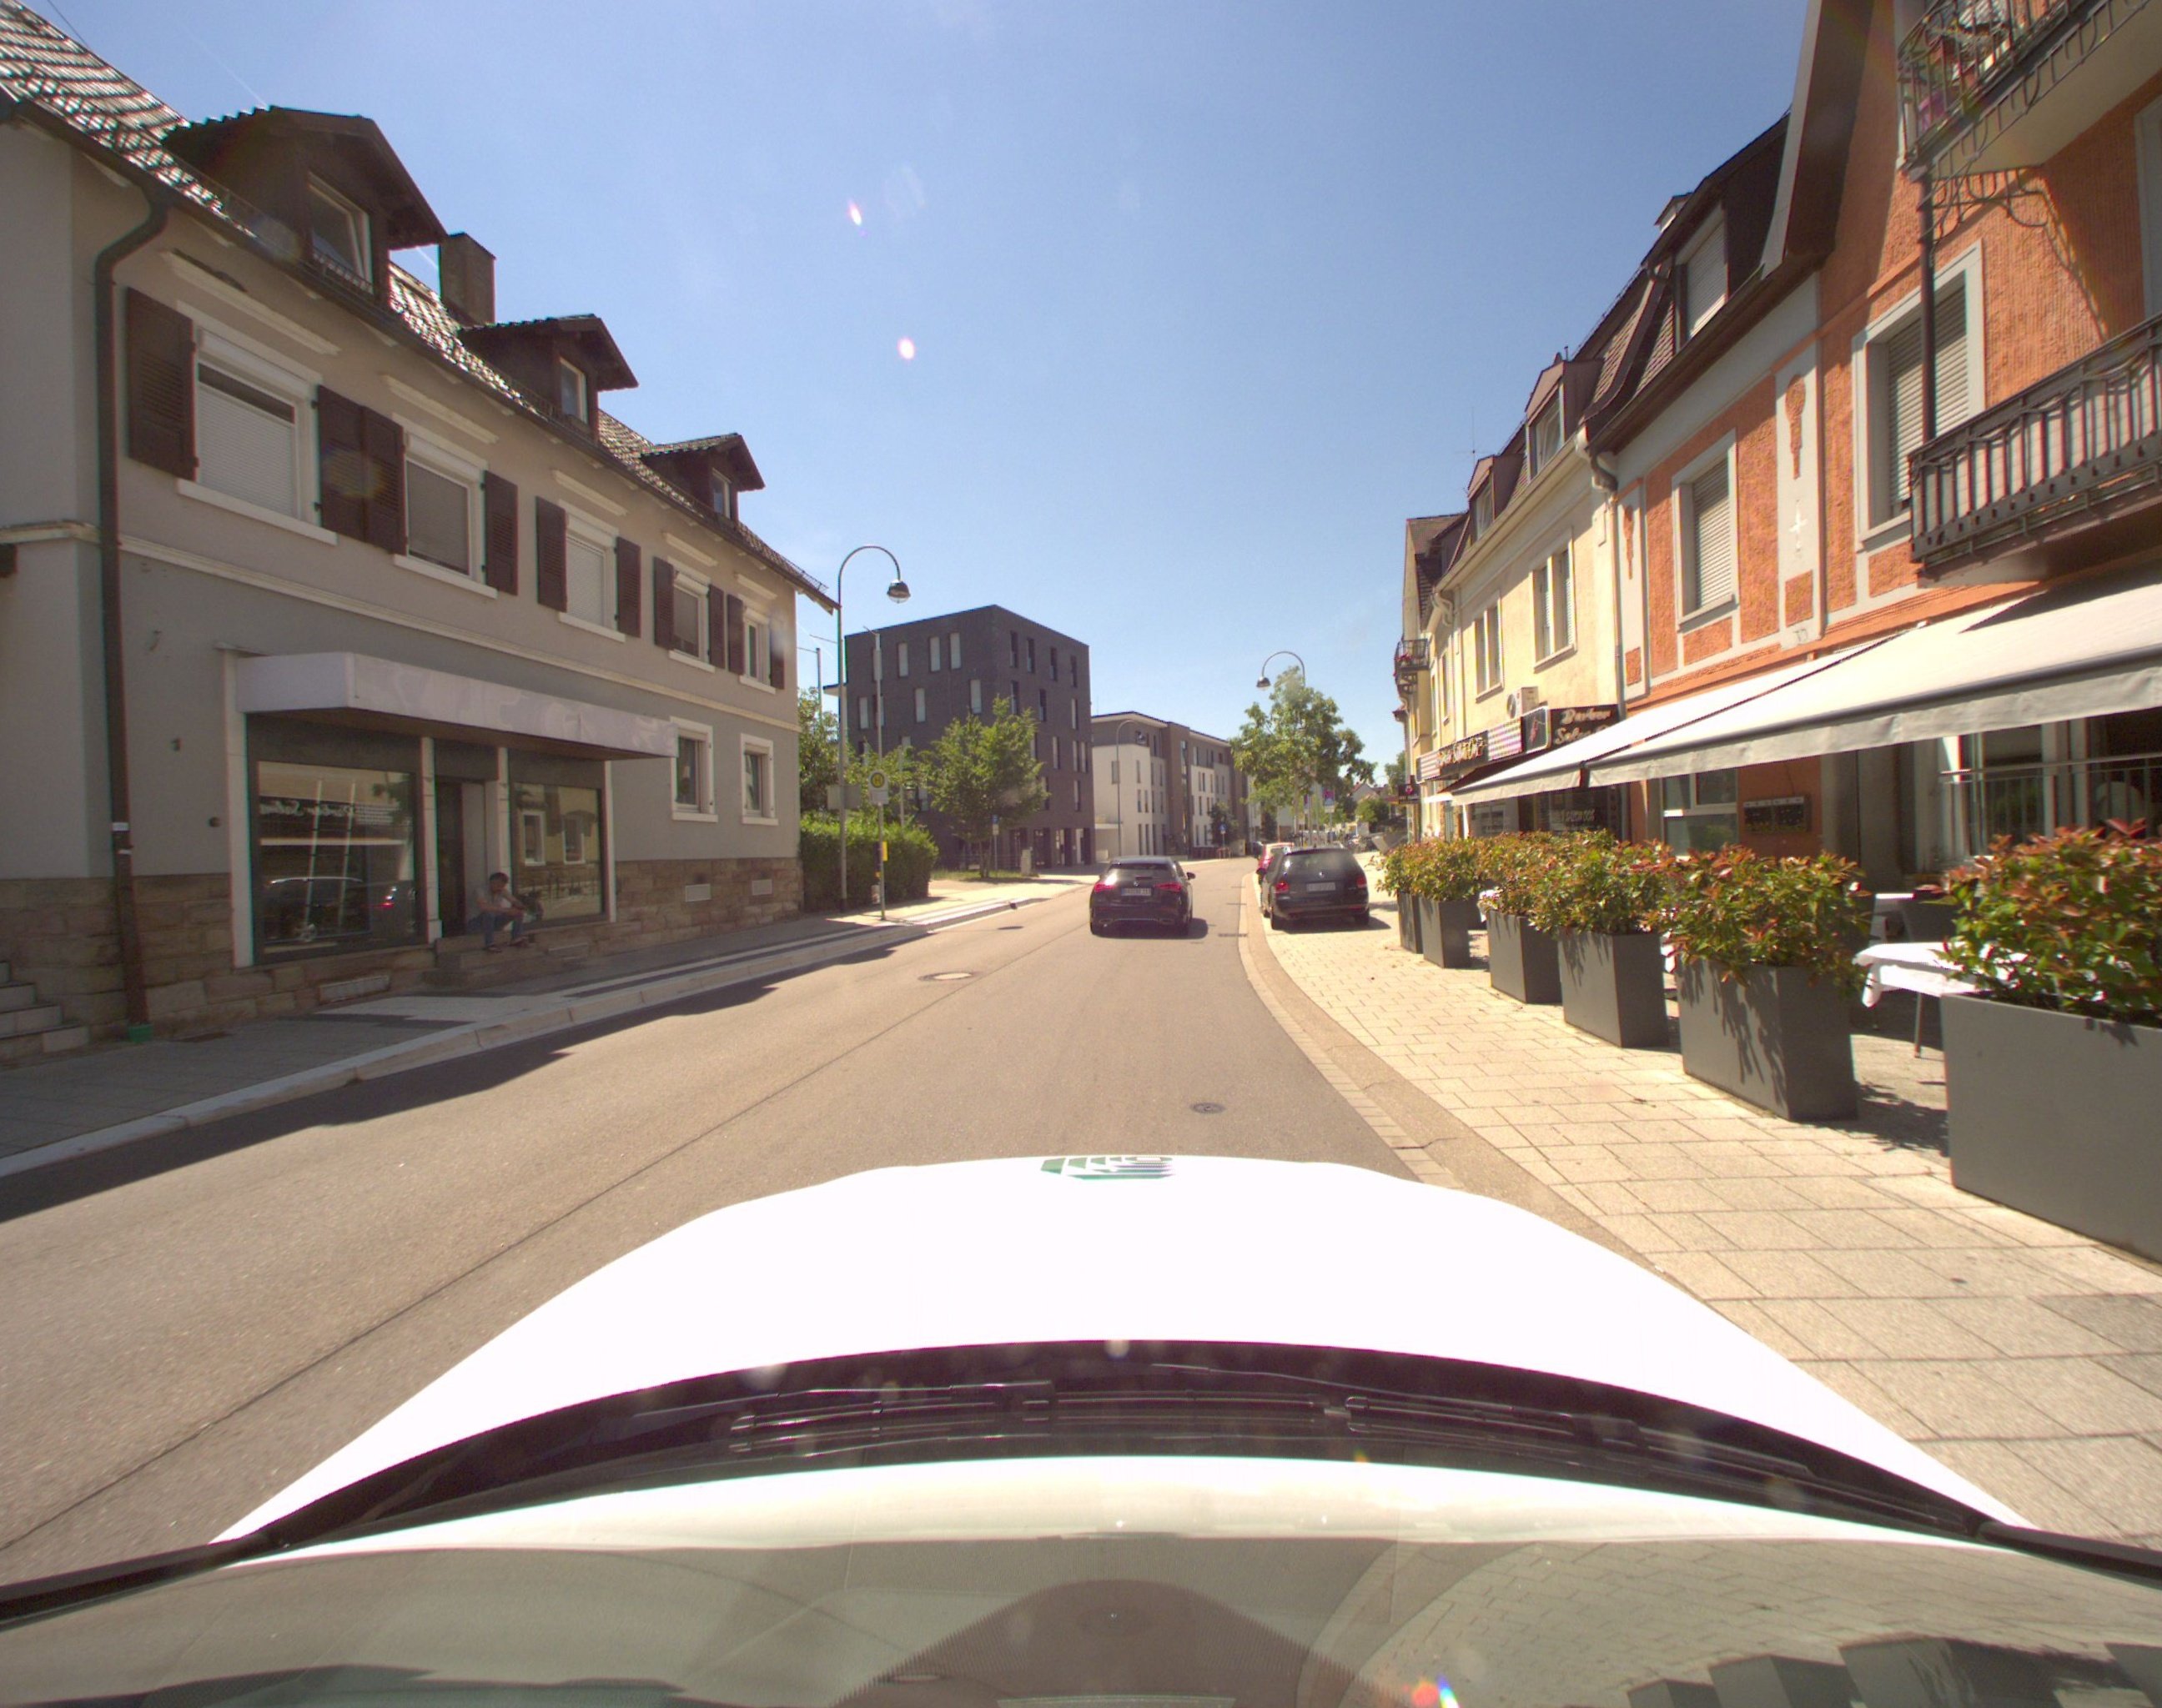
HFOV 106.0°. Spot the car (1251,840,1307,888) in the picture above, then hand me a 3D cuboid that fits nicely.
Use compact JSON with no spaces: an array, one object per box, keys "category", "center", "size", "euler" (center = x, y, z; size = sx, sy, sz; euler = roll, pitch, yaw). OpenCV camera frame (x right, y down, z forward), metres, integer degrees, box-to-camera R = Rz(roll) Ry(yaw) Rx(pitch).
[{"category":"car","center":[6.960,0.308,28.877],"size":[1.596,1.530,3.501],"euler":[-3,0,9]}]

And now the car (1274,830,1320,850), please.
[{"category":"car","center":[29.975,-1.928,112.917],"size":[5.587,2.579,2.531],"euler":[-1,0,31]}]

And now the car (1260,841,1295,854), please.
[{"category":"car","center":[24.966,-0.832,103.376],"size":[3.949,1.662,2.012],"euler":[-1,0,29]}]

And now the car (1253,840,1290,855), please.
[{"category":"car","center":[23.368,-0.782,99.789],"size":[3.949,1.662,2.012],"euler":[-1,0,29]}]

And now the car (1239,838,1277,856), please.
[{"category":"car","center":[20.649,-0.838,95.049],"size":[3.949,2.013,2.013],"euler":[-1,0,31]}]

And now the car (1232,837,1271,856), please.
[{"category":"car","center":[19.452,-0.855,92.948],"size":[3.949,2.013,2.013],"euler":[-1,0,31]}]

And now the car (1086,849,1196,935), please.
[{"category":"car","center":[1.341,0.650,16.295],"size":[1.752,1.457,4.451],"euler":[-1,0,10]}]

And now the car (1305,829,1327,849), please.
[{"category":"car","center":[24.849,-1.560,85.929],"size":[1.977,2.013,4.020],"euler":[-1,0,20]}]

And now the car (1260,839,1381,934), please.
[{"category":"car","center":[4.443,0.526,15.653],"size":[1.739,1.486,4.012],"euler":[-4,0,10]}]

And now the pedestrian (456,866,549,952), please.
[{"category":"pedestrian","center":[-7.553,0.704,10.663],"size":[0.666,1.054,0.701],"euler":[-1,0,5]}]

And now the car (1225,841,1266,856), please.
[{"category":"car","center":[18.345,-0.628,90.838],"size":[3.949,1.662,2.012],"euler":[-1,0,29]}]
